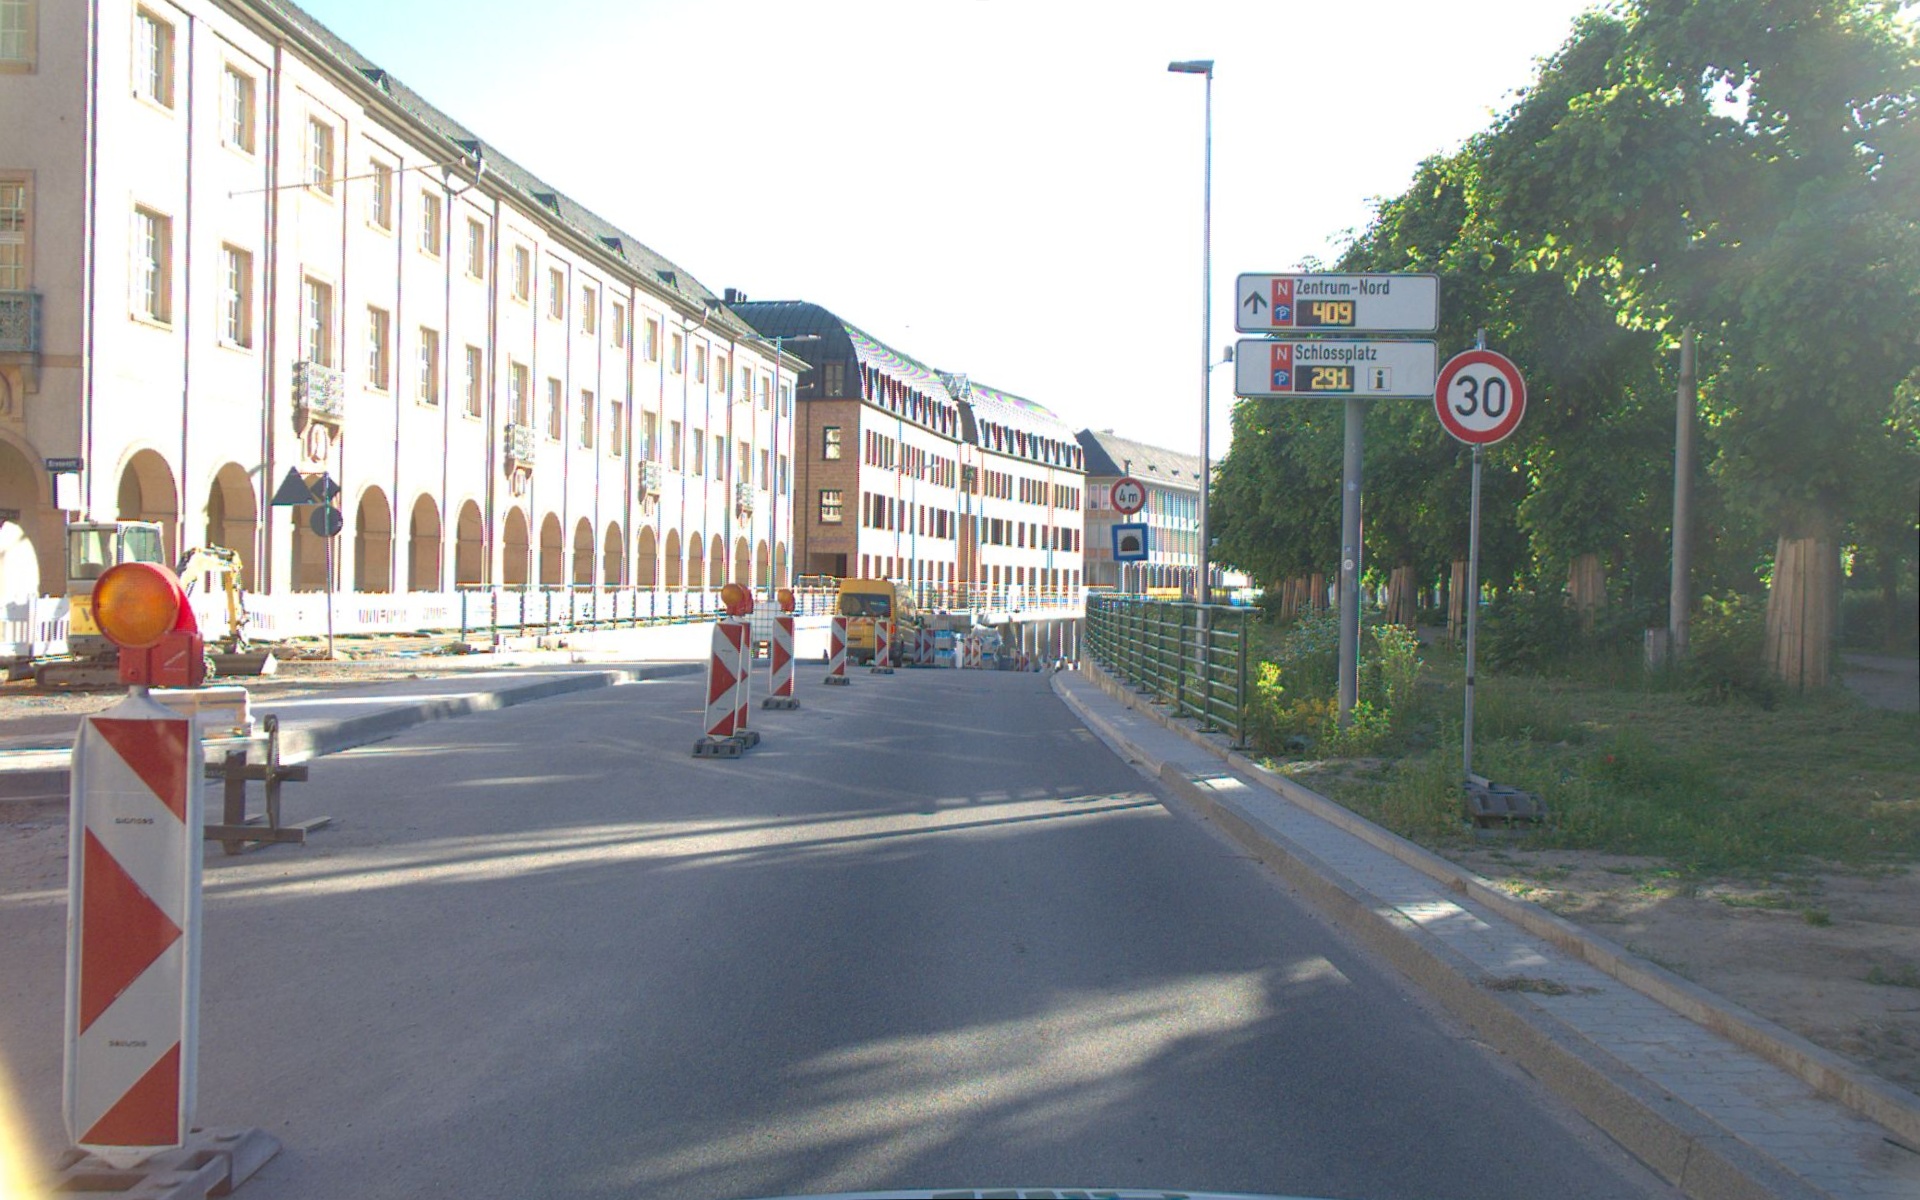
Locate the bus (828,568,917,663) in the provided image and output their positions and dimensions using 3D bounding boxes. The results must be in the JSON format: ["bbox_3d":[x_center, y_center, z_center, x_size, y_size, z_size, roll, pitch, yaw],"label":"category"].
[{"bbox_3d":[-2.601,0.525,50.490,2.029,2.734,4.686,1,-2,5],"label":"bus"}]

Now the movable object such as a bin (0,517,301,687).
[{"bbox_3d":[-12.557,0.010,25.831,2.493,2.390,4.462,1,0,3],"label":"movable object such as a bin"}]
